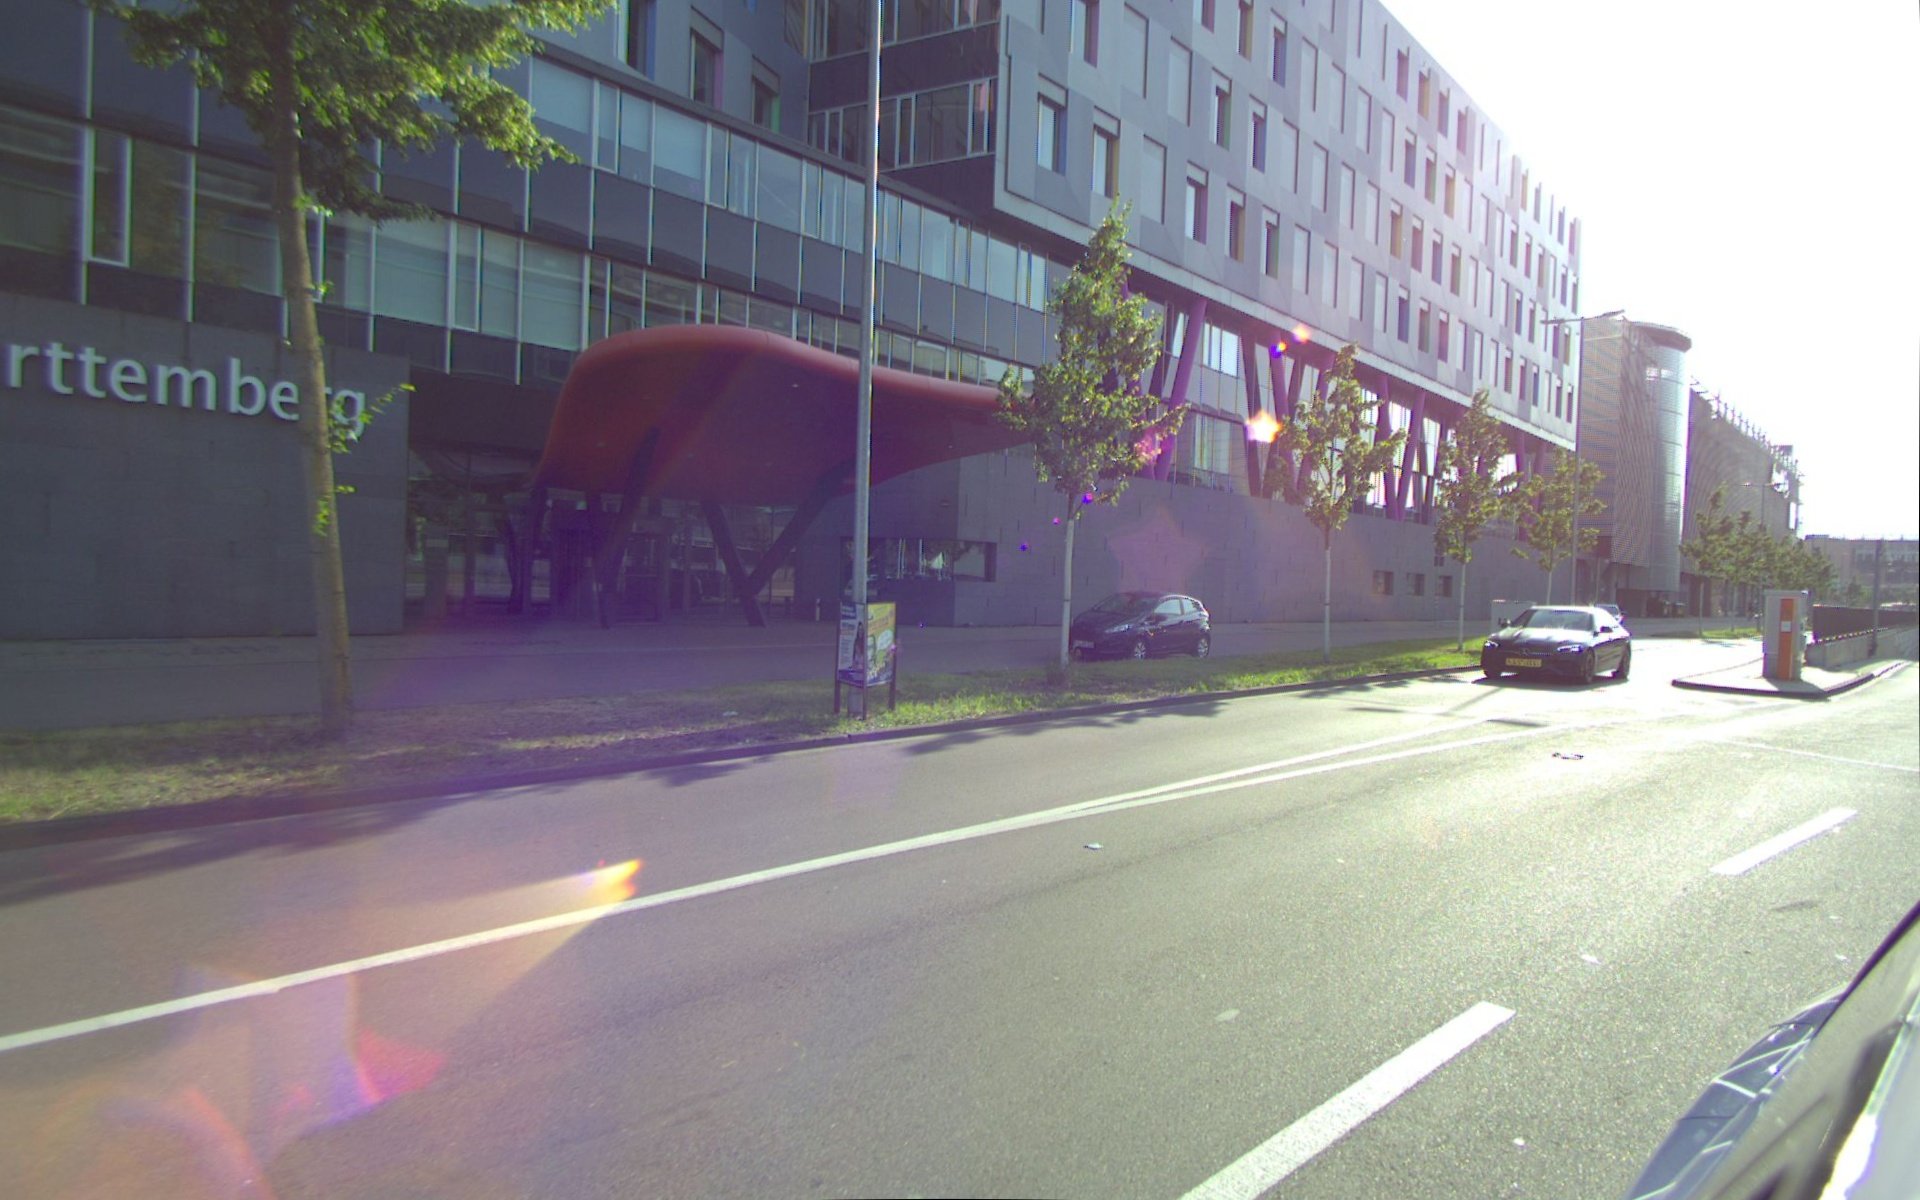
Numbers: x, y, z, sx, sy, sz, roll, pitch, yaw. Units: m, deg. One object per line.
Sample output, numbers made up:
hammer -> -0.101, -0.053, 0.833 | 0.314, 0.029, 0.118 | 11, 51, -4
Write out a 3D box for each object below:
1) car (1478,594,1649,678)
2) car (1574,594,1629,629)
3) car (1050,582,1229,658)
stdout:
car -> 12.189, 0.644, 20.301 | 4.480, 1.468, 1.840 | 0, 1, -44
car -> 31.487, 0.508, 49.771 | 1.878, 1.443, 4.431 | 1, 3, 28
car -> 3.862, 0.380, 21.356 | 1.692, 1.407, 4.132 | 3, 2, 44
